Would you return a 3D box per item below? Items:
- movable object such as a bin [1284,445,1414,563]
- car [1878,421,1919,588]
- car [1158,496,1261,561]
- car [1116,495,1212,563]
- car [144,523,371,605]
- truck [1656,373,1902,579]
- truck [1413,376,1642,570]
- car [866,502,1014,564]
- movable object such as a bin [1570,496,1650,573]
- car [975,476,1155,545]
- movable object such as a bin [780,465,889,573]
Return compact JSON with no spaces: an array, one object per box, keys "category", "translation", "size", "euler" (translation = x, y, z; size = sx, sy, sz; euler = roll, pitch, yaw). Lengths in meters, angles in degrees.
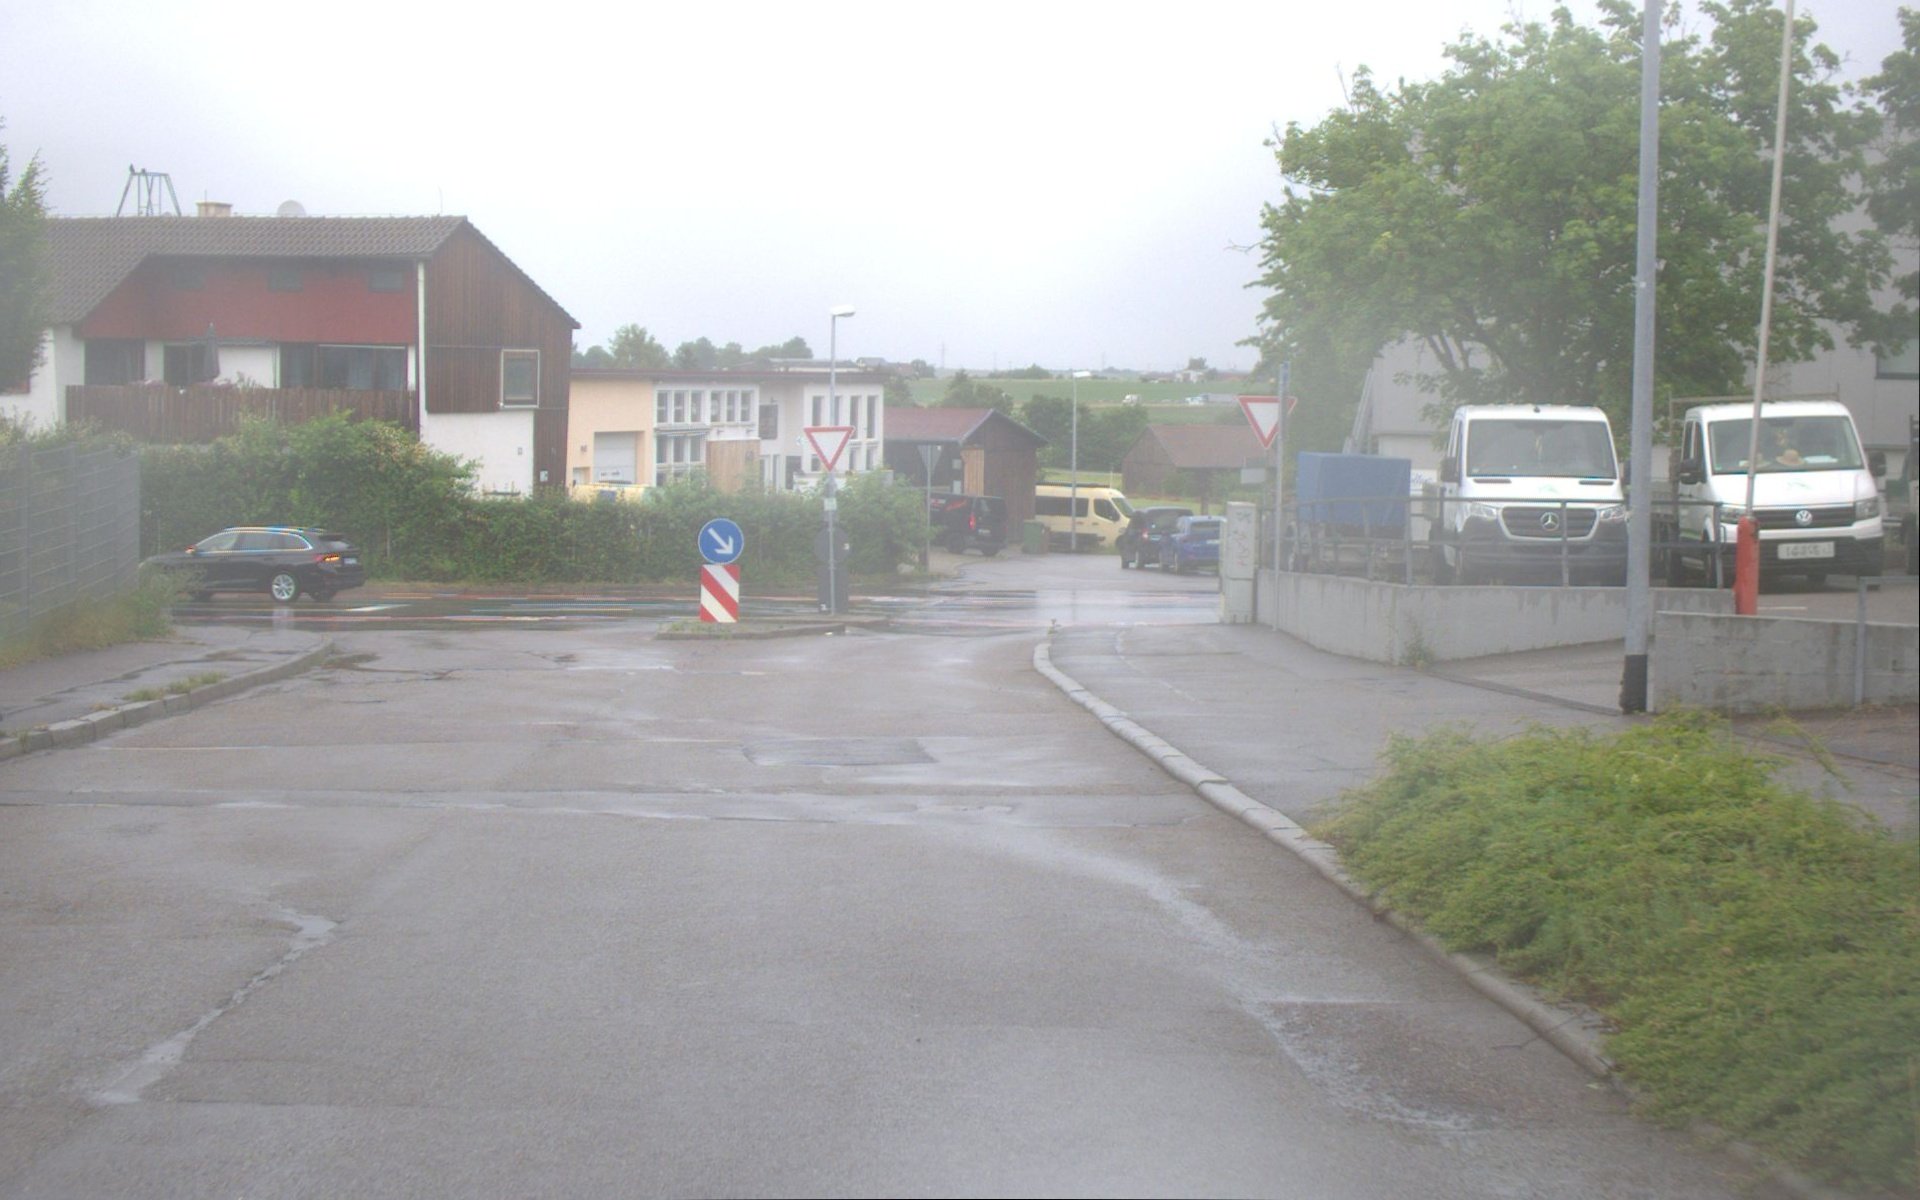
[{"category":"movable object such as a bin","translation":[5.052,-1.243,44.794],"size":[1.306,1.495,1.859],"euler":[0,1,-6]},{"category":"car","translation":[12.661,-1.154,42.045],"size":[2.057,2.007,4.937],"euler":[1,1,7]},{"category":"car","translation":[6.366,-1.833,88.158],"size":[1.951,1.604,4.448],"euler":[0,1,-5]},{"category":"car","translation":[5.605,-1.955,94.870],"size":[2.073,1.828,4.471],"euler":[0,1,-4]},{"category":"car","translation":[-13.746,-0.713,67.308],"size":[3.990,1.529,1.760],"euler":[1,1,15]},{"category":"truck","translation":[9.804,-1.454,41.536],"size":[2.243,2.334,4.836],"euler":[0,1,6]},{"category":"truck","translation":[6.872,-1.503,42.225],"size":[2.106,2.206,5.653],"euler":[1,1,3]},{"category":"car","translation":[-0.642,-2.085,106.475],"size":[4.407,1.898,1.995],"euler":[1,1,43]},{"category":"movable object such as a bin","translation":[8.852,-0.894,46.871],"size":[1.050,1.039,0.883],"euler":[1,1,10]},{"category":"car","translation":[3.795,-3.231,123.998],"size":[6.015,2.406,2.461],"euler":[1,1,21]},{"category":"movable object such as a bin","translation":[-3.016,-1.943,83.199],"size":[1.734,2.548,3.337],"euler":[1,1,15]}]
